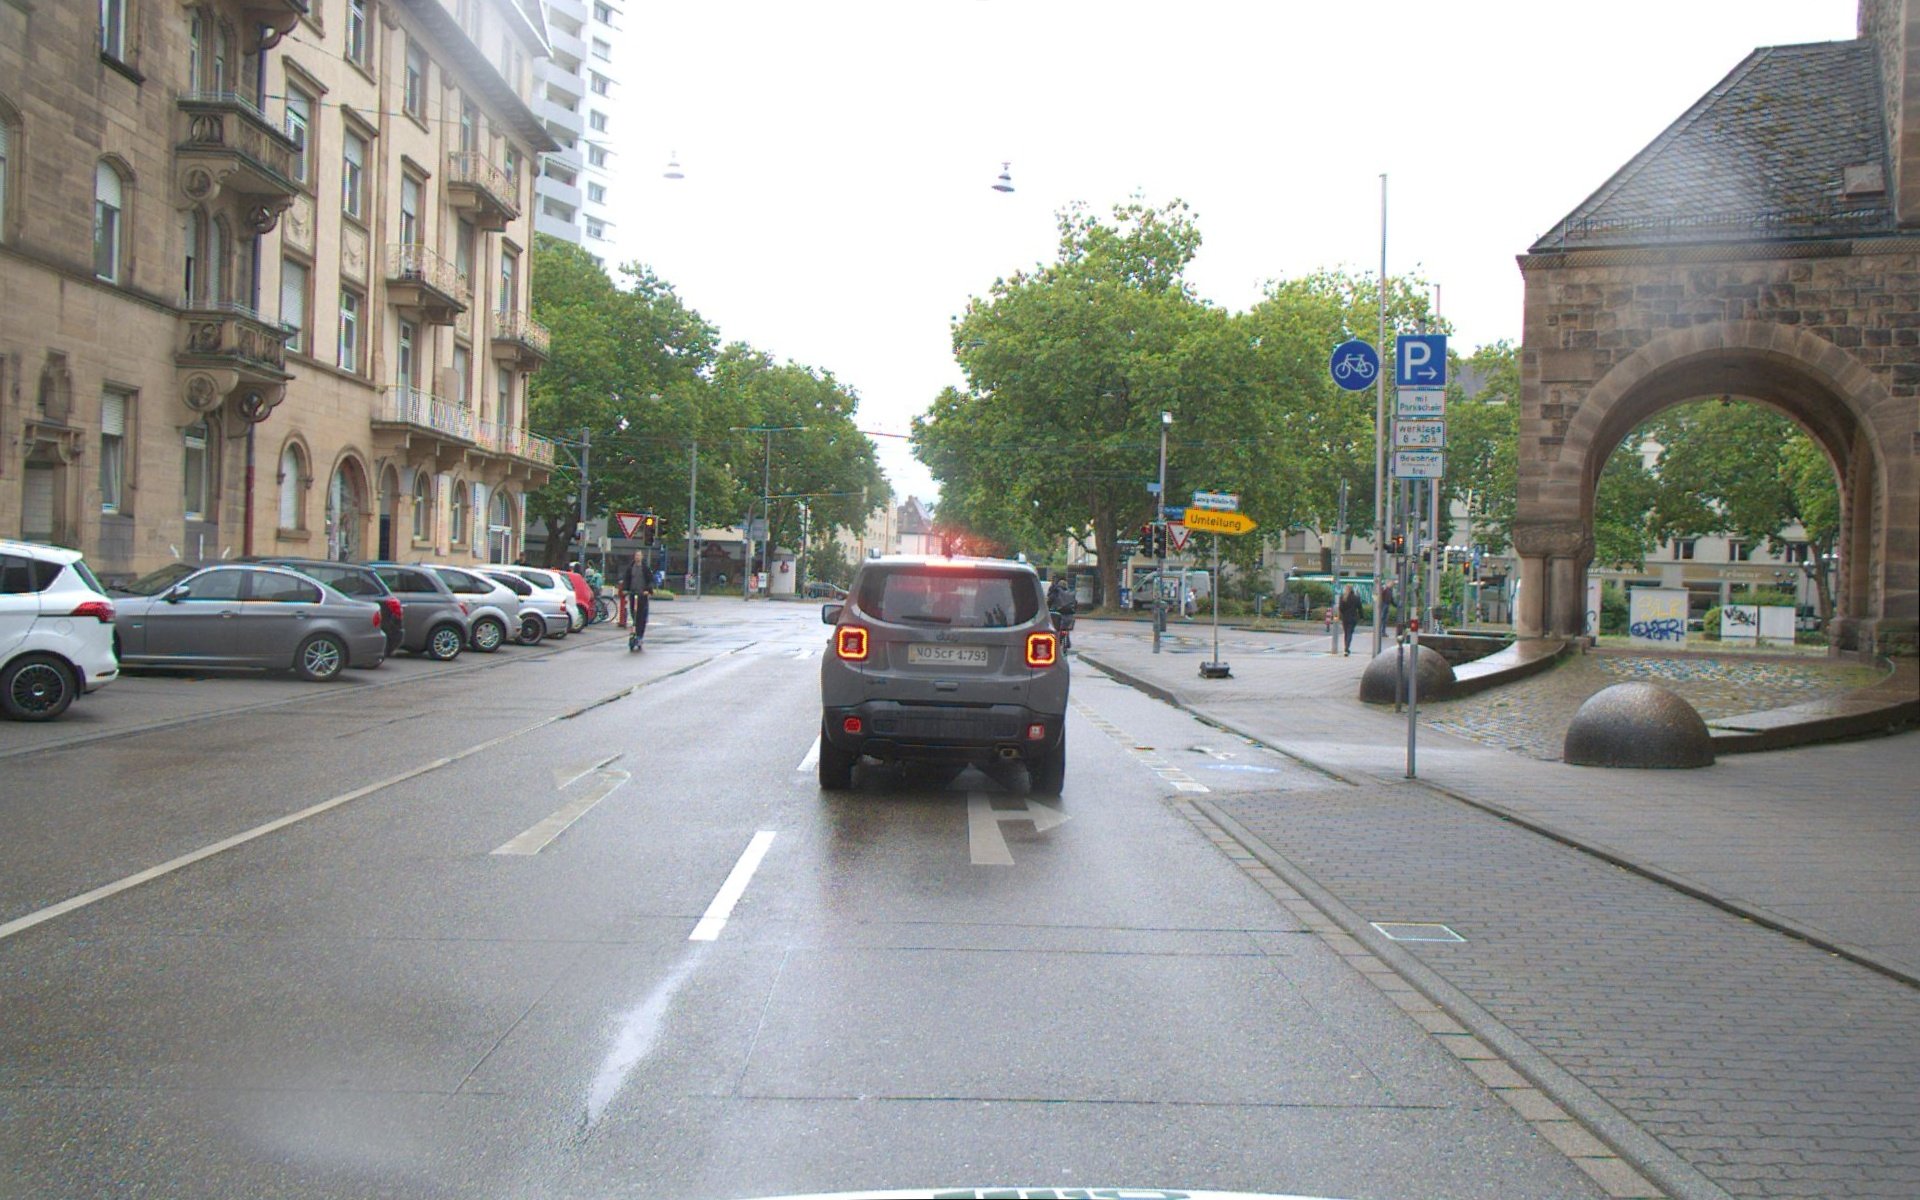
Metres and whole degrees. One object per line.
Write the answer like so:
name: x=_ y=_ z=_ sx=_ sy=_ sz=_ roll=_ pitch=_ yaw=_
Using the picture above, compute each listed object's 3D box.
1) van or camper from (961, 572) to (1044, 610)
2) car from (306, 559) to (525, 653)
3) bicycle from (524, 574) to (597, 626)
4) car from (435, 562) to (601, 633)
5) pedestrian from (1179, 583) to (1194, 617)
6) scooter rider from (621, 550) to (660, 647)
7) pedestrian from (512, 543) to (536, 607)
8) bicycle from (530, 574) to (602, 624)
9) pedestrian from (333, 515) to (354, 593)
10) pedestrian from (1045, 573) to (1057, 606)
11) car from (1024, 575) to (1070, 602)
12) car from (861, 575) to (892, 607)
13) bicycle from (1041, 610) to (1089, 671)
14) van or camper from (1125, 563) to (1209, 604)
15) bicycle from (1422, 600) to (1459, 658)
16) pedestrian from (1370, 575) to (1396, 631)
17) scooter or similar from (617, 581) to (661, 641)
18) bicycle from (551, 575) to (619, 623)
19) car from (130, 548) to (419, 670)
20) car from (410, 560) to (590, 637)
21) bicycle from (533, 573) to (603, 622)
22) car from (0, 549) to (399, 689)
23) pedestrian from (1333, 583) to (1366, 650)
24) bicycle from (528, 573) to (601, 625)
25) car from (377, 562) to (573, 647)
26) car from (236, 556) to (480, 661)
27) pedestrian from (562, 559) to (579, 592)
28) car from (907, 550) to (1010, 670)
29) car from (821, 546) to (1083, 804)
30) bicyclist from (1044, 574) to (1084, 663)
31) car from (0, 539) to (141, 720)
van or camper: x=3.493 y=-0.781 z=136.088 sx=6.400 sy=2.963 sz=2.492 roll=2 pitch=1 yaw=27
car: x=-9.764 y=0.109 z=29.754 sx=3.370 sy=1.585 sz=1.682 roll=1 pitch=1 yaw=-40
bicycle: x=-10.278 y=-0.012 z=42.553 sx=1.728 sy=1.288 sz=0.522 roll=1 pitch=0 yaw=-2
car: x=-10.336 y=-0.051 z=38.775 sx=3.370 sy=1.585 sz=1.682 roll=1 pitch=1 yaw=-40
pedestrian: x=10.950 y=-0.009 z=79.916 sx=0.600 sy=1.631 sz=0.494 roll=1 pitch=0 yaw=24
scooter rider: x=-6.583 y=-0.036 z=34.064 sx=0.696 sy=1.969 sz=0.503 roll=1 pitch=0 yaw=-3
pedestrian: x=-14.091 y=-0.801 z=53.461 sx=0.556 sy=2.049 sz=0.655 roll=1 pitch=0 yaw=0
bicycle: x=-10.427 y=-0.031 z=43.783 sx=1.774 sy=1.288 sz=0.498 roll=1 pitch=0 yaw=-2
pedestrian: x=-14.889 y=-1.110 z=39.967 sx=0.359 sy=1.854 sz=0.347 roll=1 pitch=0 yaw=-3
pedestrian: x=5.658 y=-0.677 z=103.256 sx=0.637 sy=2.049 sz=0.483 roll=2 pitch=0 yaw=12
car: x=6.840 y=-0.921 z=130.126 sx=3.363 sy=2.049 sz=1.549 roll=1 pitch=0 yaw=13
car: x=-4.848 y=-0.538 z=95.322 sx=1.687 sy=1.769 sz=3.727 roll=1 pitch=1 yaw=-4
bicycle: x=1.946 y=0.729 z=31.067 sx=0.677 sy=1.039 sz=2.657 roll=1 pitch=1 yaw=-1
van or camper: x=13.145 y=-1.049 z=105.369 sx=5.149 sy=2.355 sz=2.091 roll=2 pitch=1 yaw=3
bicycle: x=10.250 y=0.592 z=35.320 sx=0.322 sy=1.174 sz=2.076 roll=1 pitch=1 yaw=5
pedestrian: x=13.795 y=0.081 z=53.928 sx=0.769 sy=1.790 sz=0.946 roll=1 pitch=0 yaw=15
scooter or similar: x=-6.580 y=0.208 z=33.951 sx=0.686 sy=1.185 sz=1.384 roll=1 pitch=1 yaw=-2
bicycle: x=-10.348 y=-0.026 z=45.691 sx=1.728 sy=1.288 sz=0.608 roll=1 pitch=0 yaw=-2
car: x=-9.784 y=0.123 z=23.714 sx=3.519 sy=1.626 sz=1.583 roll=1 pitch=1 yaw=-40
car: x=-9.964 y=-0.027 z=35.914 sx=3.370 sy=1.585 sz=1.682 roll=1 pitch=1 yaw=-40
bicycle: x=-10.625 y=-0.066 z=44.813 sx=1.728 sy=1.288 sz=0.608 roll=1 pitch=0 yaw=-2
car: x=-9.578 y=0.215 z=20.803 sx=4.512 sy=1.572 sz=1.662 roll=1 pitch=1 yaw=-44
pedestrian: x=9.796 y=0.410 z=41.628 sx=0.766 sy=1.674 sz=0.655 roll=1 pitch=0 yaw=13
bicycle: x=-10.297 y=-0.028 z=43.100 sx=1.774 sy=1.288 sz=0.498 roll=1 pitch=0 yaw=-2
car: x=-9.654 y=0.092 z=33.023 sx=3.370 sy=1.585 sz=1.682 roll=1 pitch=1 yaw=-40
car: x=-9.724 y=0.133 z=26.805 sx=3.370 sy=1.585 sz=1.629 roll=1 pitch=1 yaw=-40
pedestrian: x=-22.265 y=-1.392 z=94.521 sx=0.677 sy=1.858 sz=0.621 roll=1 pitch=0 yaw=16
car: x=-0.043 y=0.145 z=30.661 sx=1.734 sy=2.049 sz=4.000 roll=1 pitch=1 yaw=0
car: x=-0.086 y=0.477 z=13.005 sx=1.739 sy=1.716 sz=3.847 roll=1 pitch=1 yaw=-1
bicyclist: x=1.950 y=0.330 z=31.098 sx=0.673 sy=1.645 sz=0.883 roll=1 pitch=1 yaw=-1
car: x=-9.618 y=0.237 z=14.561 sx=4.008 sy=1.583 sz=1.772 roll=0 pitch=1 yaw=-41
